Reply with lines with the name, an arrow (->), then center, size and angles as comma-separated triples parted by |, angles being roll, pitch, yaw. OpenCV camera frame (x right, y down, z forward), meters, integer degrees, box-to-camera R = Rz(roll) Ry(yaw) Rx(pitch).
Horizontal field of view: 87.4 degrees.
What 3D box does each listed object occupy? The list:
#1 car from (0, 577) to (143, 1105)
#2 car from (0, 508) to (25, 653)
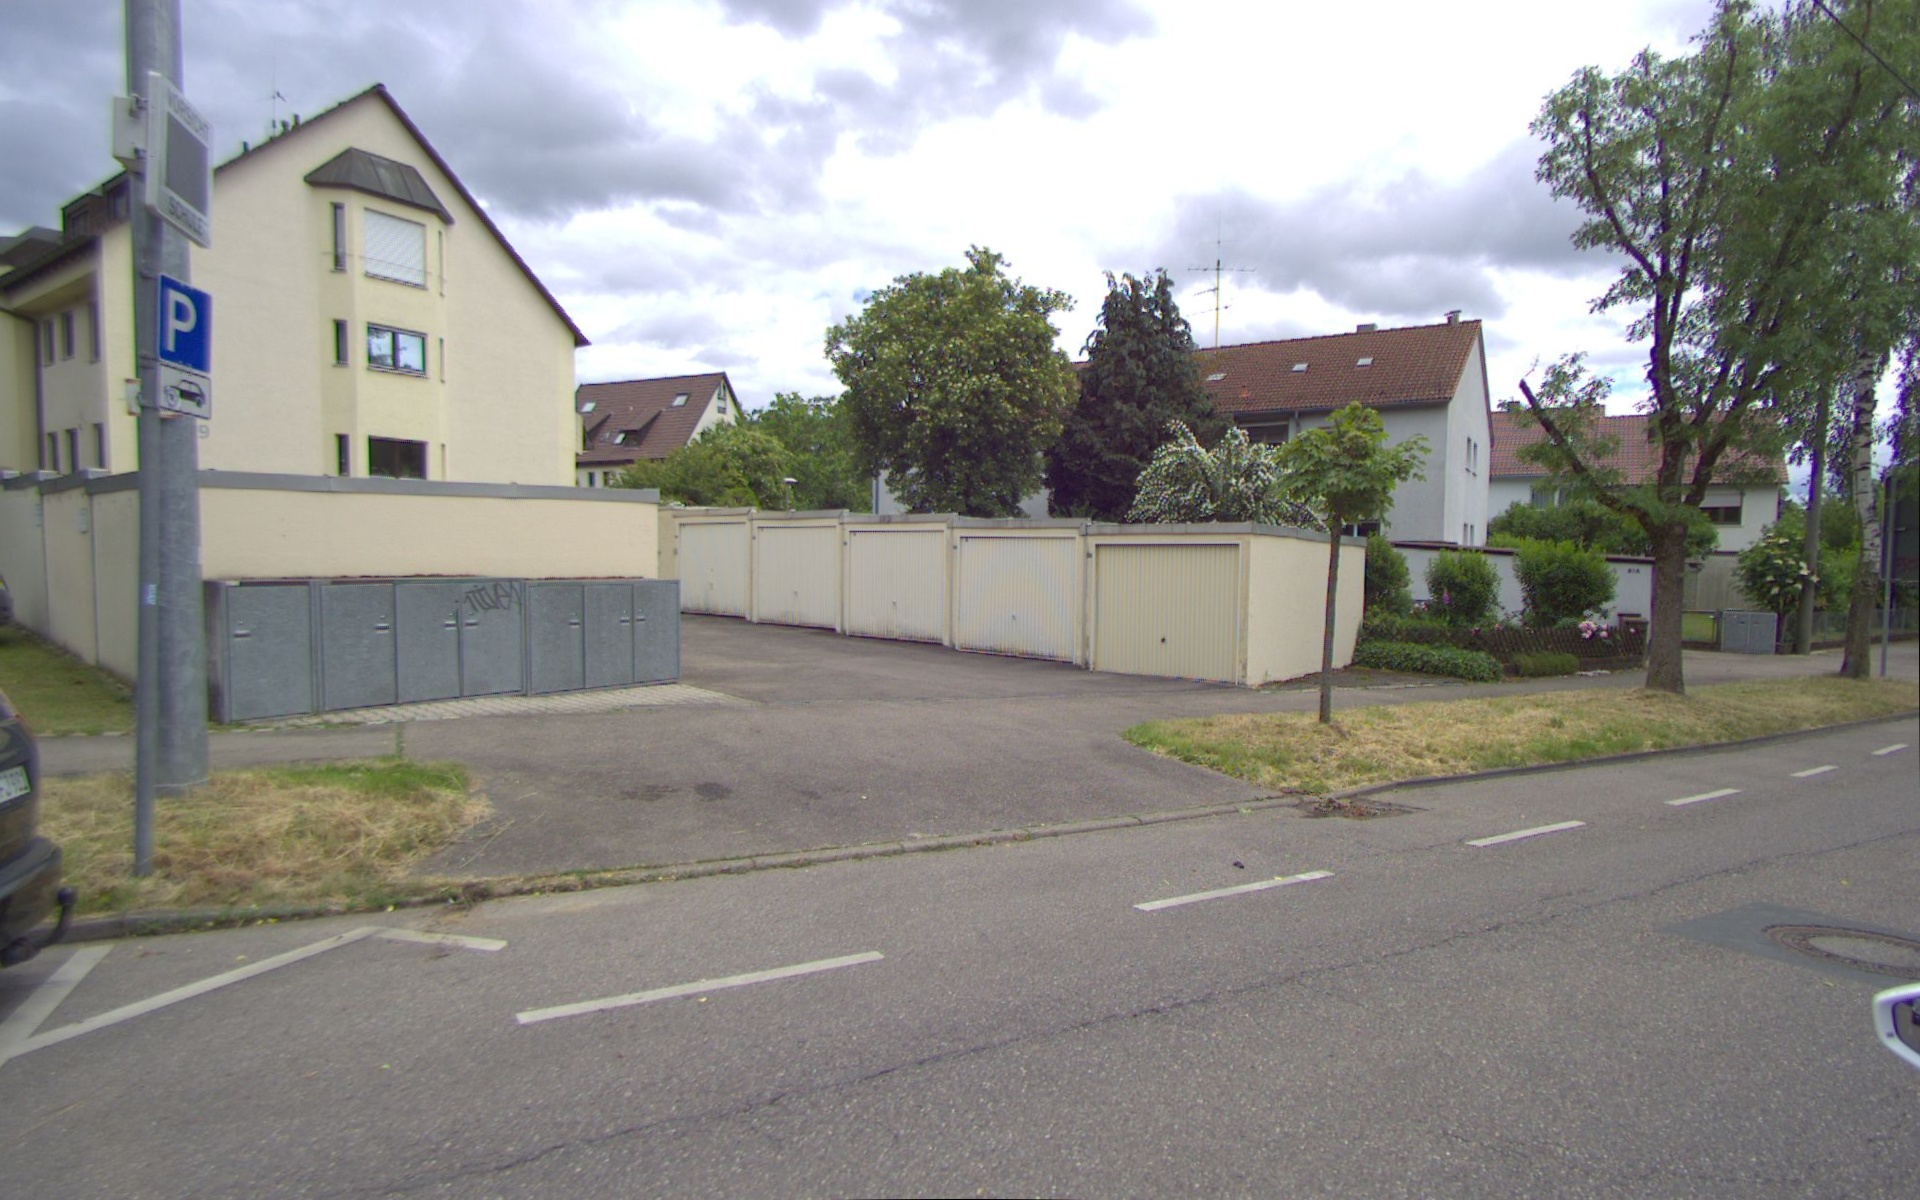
car -> -5.045, 0.698, 2.618 | 4.215, 1.583, 1.797 | 1, -2, -29
car -> -13.061, -0.247, 10.544 | 1.965, 1.672, 4.392 | 6, 5, 32
